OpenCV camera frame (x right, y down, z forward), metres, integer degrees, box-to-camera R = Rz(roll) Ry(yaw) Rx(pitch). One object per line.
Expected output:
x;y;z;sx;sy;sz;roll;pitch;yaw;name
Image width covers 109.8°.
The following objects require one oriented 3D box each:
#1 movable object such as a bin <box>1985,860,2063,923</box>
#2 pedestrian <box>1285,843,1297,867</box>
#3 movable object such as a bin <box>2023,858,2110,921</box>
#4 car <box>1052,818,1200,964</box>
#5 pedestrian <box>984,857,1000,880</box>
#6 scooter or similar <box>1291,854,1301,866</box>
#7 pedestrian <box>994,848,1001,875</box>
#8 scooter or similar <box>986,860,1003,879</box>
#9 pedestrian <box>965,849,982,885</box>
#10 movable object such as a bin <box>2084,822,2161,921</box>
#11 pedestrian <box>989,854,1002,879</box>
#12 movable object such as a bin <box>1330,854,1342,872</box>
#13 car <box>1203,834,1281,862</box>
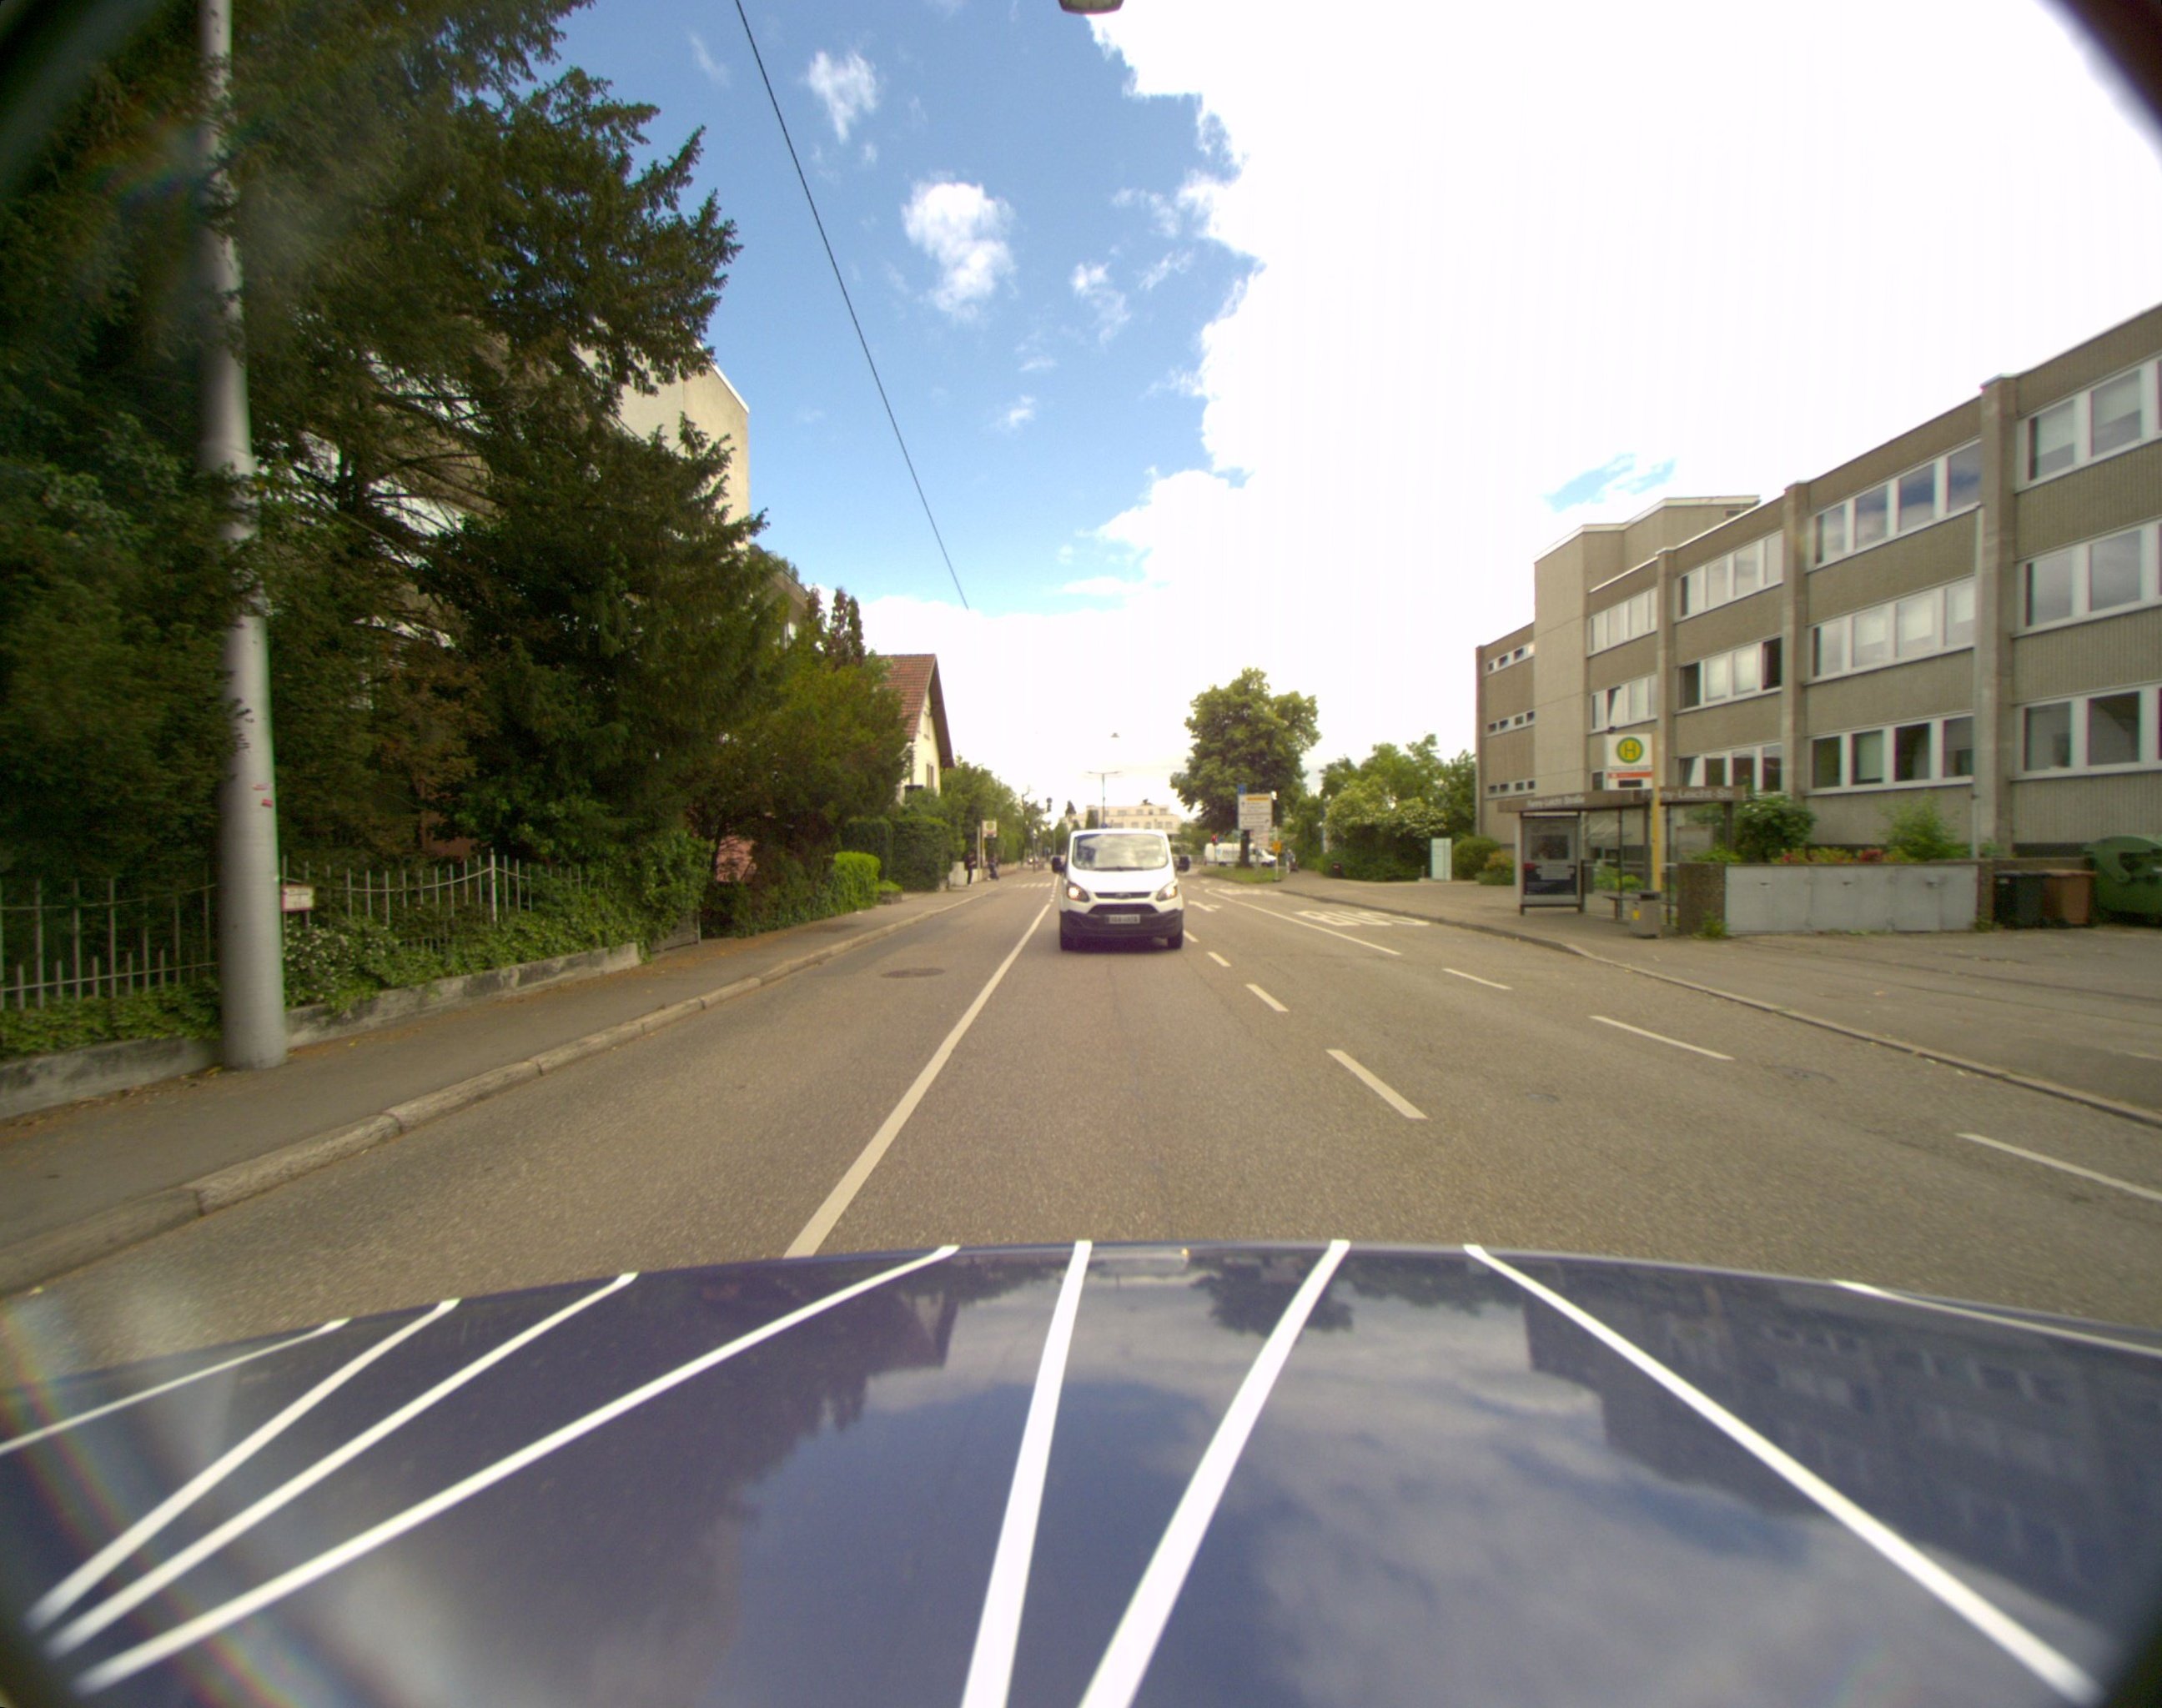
14.808;0.580;11.939;0.517;0.933;0.562;-2;1;1;movable object such as a bin
13.960;0.078;50.557;0.672;1.549;0.520;-2;2;18;pedestrian
15.438;0.547;11.919;0.634;0.933;0.562;-2;1;1;movable object such as a bin
0.598;0.467;13.453;1.999;1.961;5.713;-2;1;-1;car
-5.228;0.847;44.672;0.916;1.244;0.789;2;1;-5;pedestrian
14.045;0.381;49.640;0.607;0.782;0.860;-2;1;17;scooter or similar
-5.441;0.490;49.427;0.344;1.745;0.496;2;2;-4;pedestrian
-5.204;0.946;45.869;0.478;1.091;0.860;4;1;43;scooter or similar
-5.431;0.654;38.419;0.489;1.757;0.672;-1;2;32;pedestrian
16.775;0.242;11.721;1.301;1.457;0.992;-2;1;1;movable object such as a bin
-5.240;0.771;46.718;0.661;1.526;0.748;2;1;-1;pedestrian
13.413;0.450;39.975;0.566;0.922;0.608;-1;2;16;movable object such as a bin
16.510;-0.632;78.124;7.426;2.631;2.201;-2;2;29;car
